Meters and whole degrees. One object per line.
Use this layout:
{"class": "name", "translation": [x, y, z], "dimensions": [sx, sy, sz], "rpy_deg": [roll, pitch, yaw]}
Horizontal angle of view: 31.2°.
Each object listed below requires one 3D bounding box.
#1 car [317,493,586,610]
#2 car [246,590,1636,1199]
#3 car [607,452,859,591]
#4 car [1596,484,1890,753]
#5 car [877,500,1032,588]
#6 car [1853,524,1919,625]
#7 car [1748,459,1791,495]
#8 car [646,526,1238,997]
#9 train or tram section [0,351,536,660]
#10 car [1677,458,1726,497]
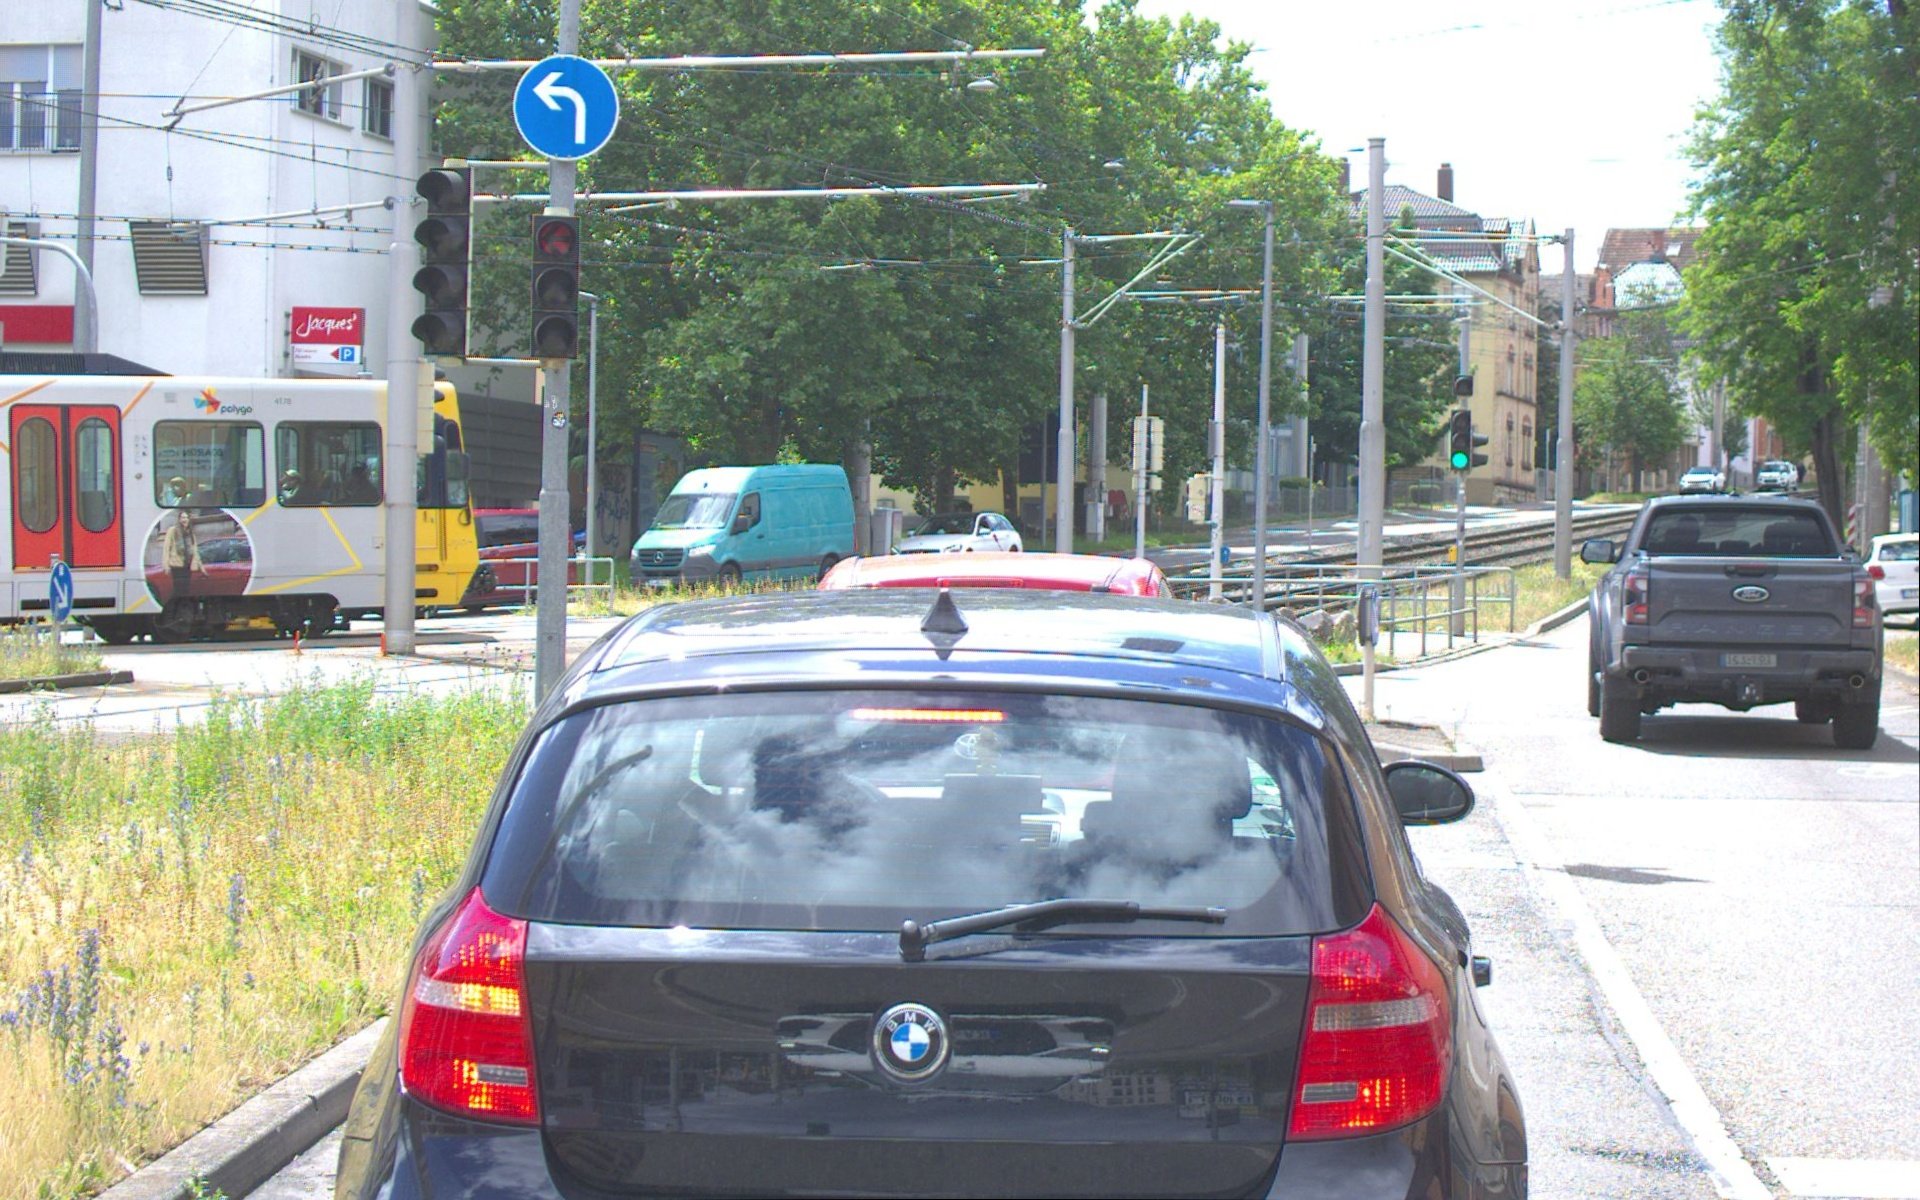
{"class": "car", "translation": [-9.037, -0.851, 61.473], "dimensions": [1.857, 2.002, 4.787], "rpy_deg": [0, 0, 38]}
{"class": "car", "translation": [-0.110, 0.712, 6.213], "dimensions": [1.701, 1.447, 4.000], "rpy_deg": [0, 0, -3]}
{"class": "car", "translation": [-4.454, -1.521, 68.542], "dimensions": [2.134, 2.645, 5.680], "rpy_deg": [0, 0, 31]}
{"class": "car", "translation": [6.036, 0.123, 26.674], "dimensions": [2.000, 1.880, 5.147], "rpy_deg": [0, 0, 12]}
{"class": "car", "translation": [-0.085, -1.237, 77.579], "dimensions": [1.855, 1.921, 4.792], "rpy_deg": [0, 0, 21]}
{"class": "car", "translation": [15.518, -0.413, 55.916], "dimensions": [1.788, 1.590, 3.998], "rpy_deg": [0, 0, 13]}
{"class": "car", "translation": [48.746, -7.375, 207.034], "dimensions": [1.996, 2.007, 3.996], "rpy_deg": [0, 0, 21]}
{"class": "car", "translation": [0.094, 0.502, 12.812], "dimensions": [1.625, 1.468, 3.999], "rpy_deg": [0, 0, 8]}
{"class": "train or tram section", "translation": [-14.947, -1.136, 42.320], "dimensions": [19.989, 3.801, 3.761], "rpy_deg": [-1, 0, -36]}
{"class": "car", "translation": [40.512, -6.670, 187.737], "dimensions": [1.996, 2.007, 3.996], "rpy_deg": [0, 0, 21]}
